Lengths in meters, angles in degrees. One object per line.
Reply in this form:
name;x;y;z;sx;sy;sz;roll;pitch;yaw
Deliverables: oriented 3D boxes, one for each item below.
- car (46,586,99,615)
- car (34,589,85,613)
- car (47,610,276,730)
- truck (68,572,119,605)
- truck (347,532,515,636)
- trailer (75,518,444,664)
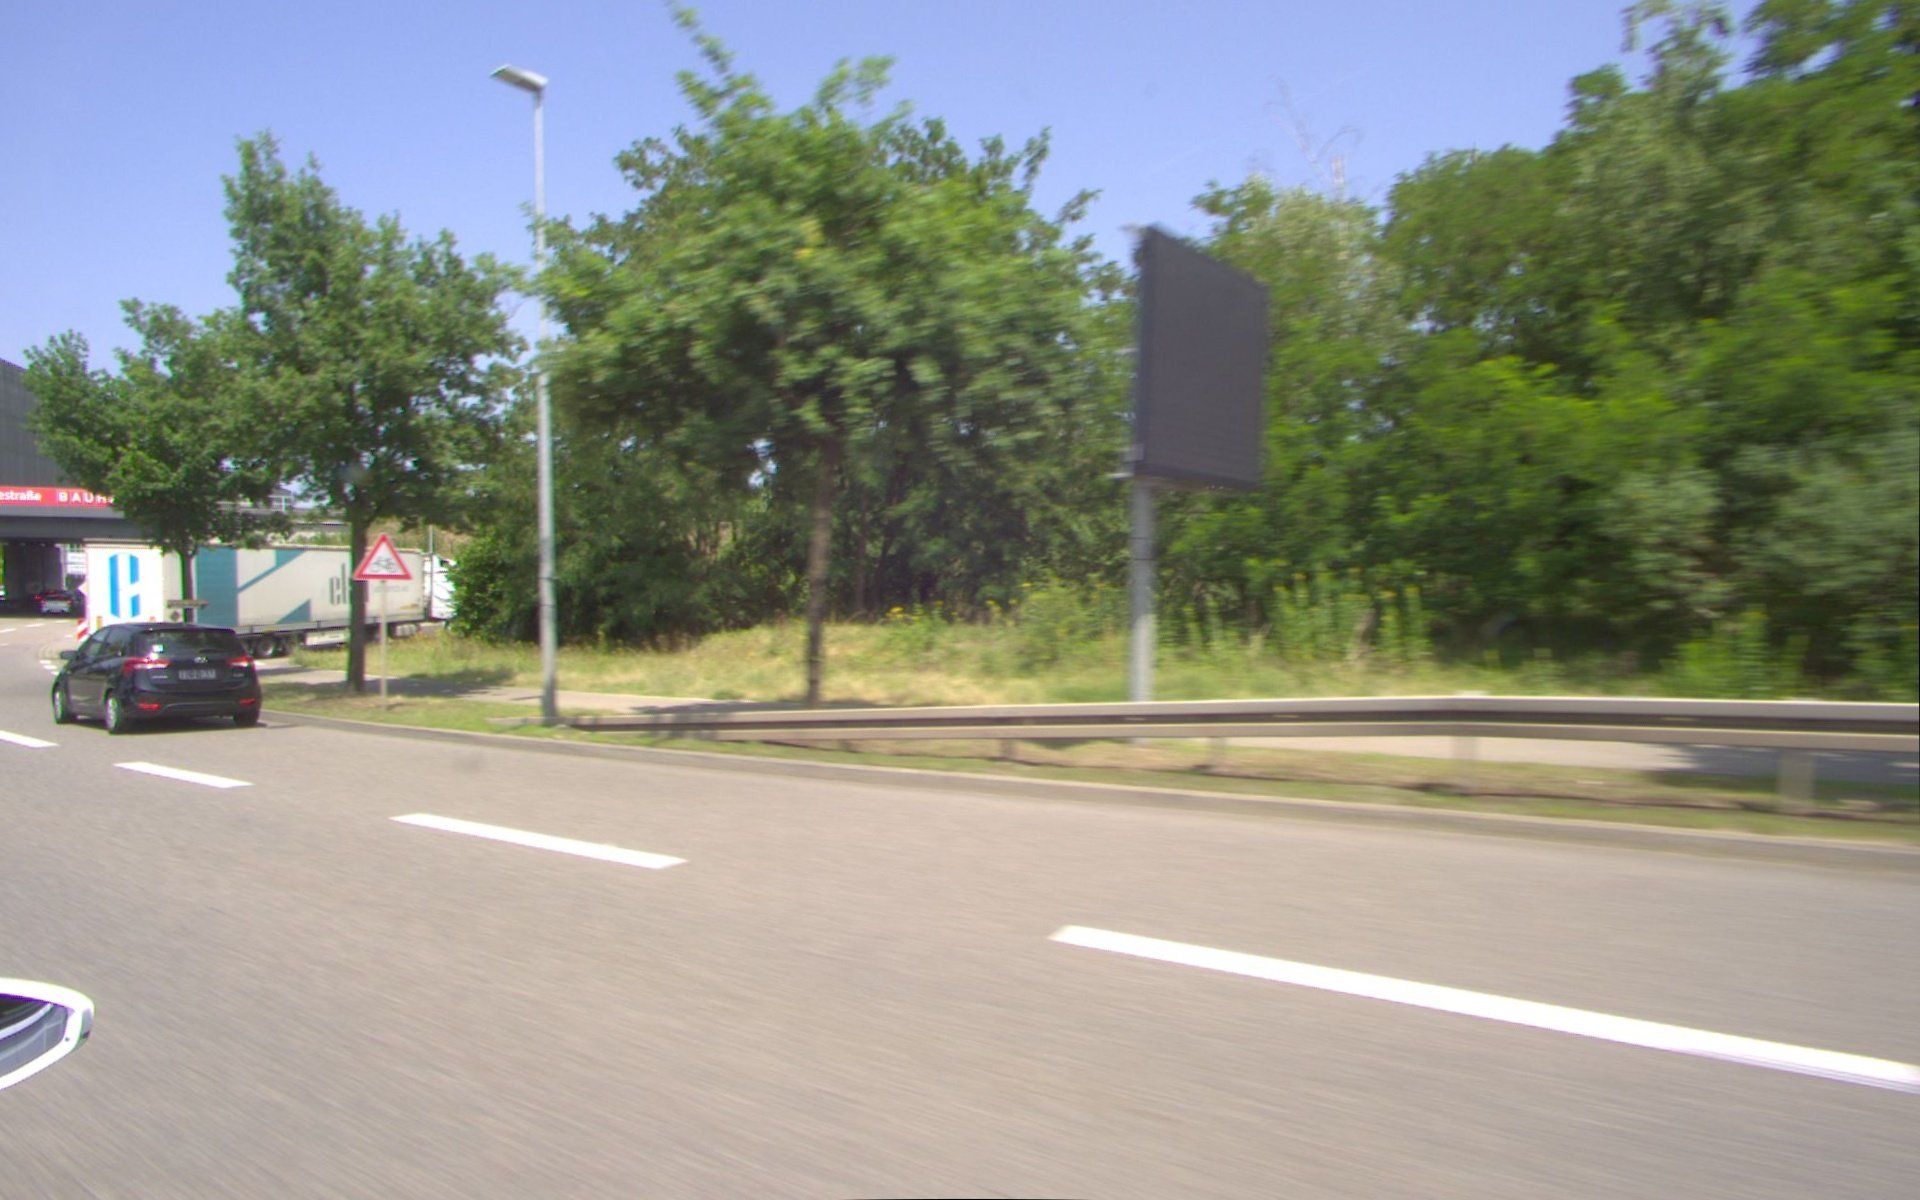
car;-59.971;0.016;67.720;1.819;1.915;3.980;1;0;-28
car;-67.697;0.083;75.349;1.918;1.744;3.981;1;0;-28
car;-12.411;1.024;15.494;4.024;1.619;1.762;-2;-2;36
truck;-70.835;-0.950;81.933;2.041;2.572;3.984;-1;2;-24
truck;-24.113;-0.778;45.988;3.038;4.428;6.051;0;2;27
trailer;-25.480;-0.467;38.356;3.028;4.428;14.765;-1;2;3
